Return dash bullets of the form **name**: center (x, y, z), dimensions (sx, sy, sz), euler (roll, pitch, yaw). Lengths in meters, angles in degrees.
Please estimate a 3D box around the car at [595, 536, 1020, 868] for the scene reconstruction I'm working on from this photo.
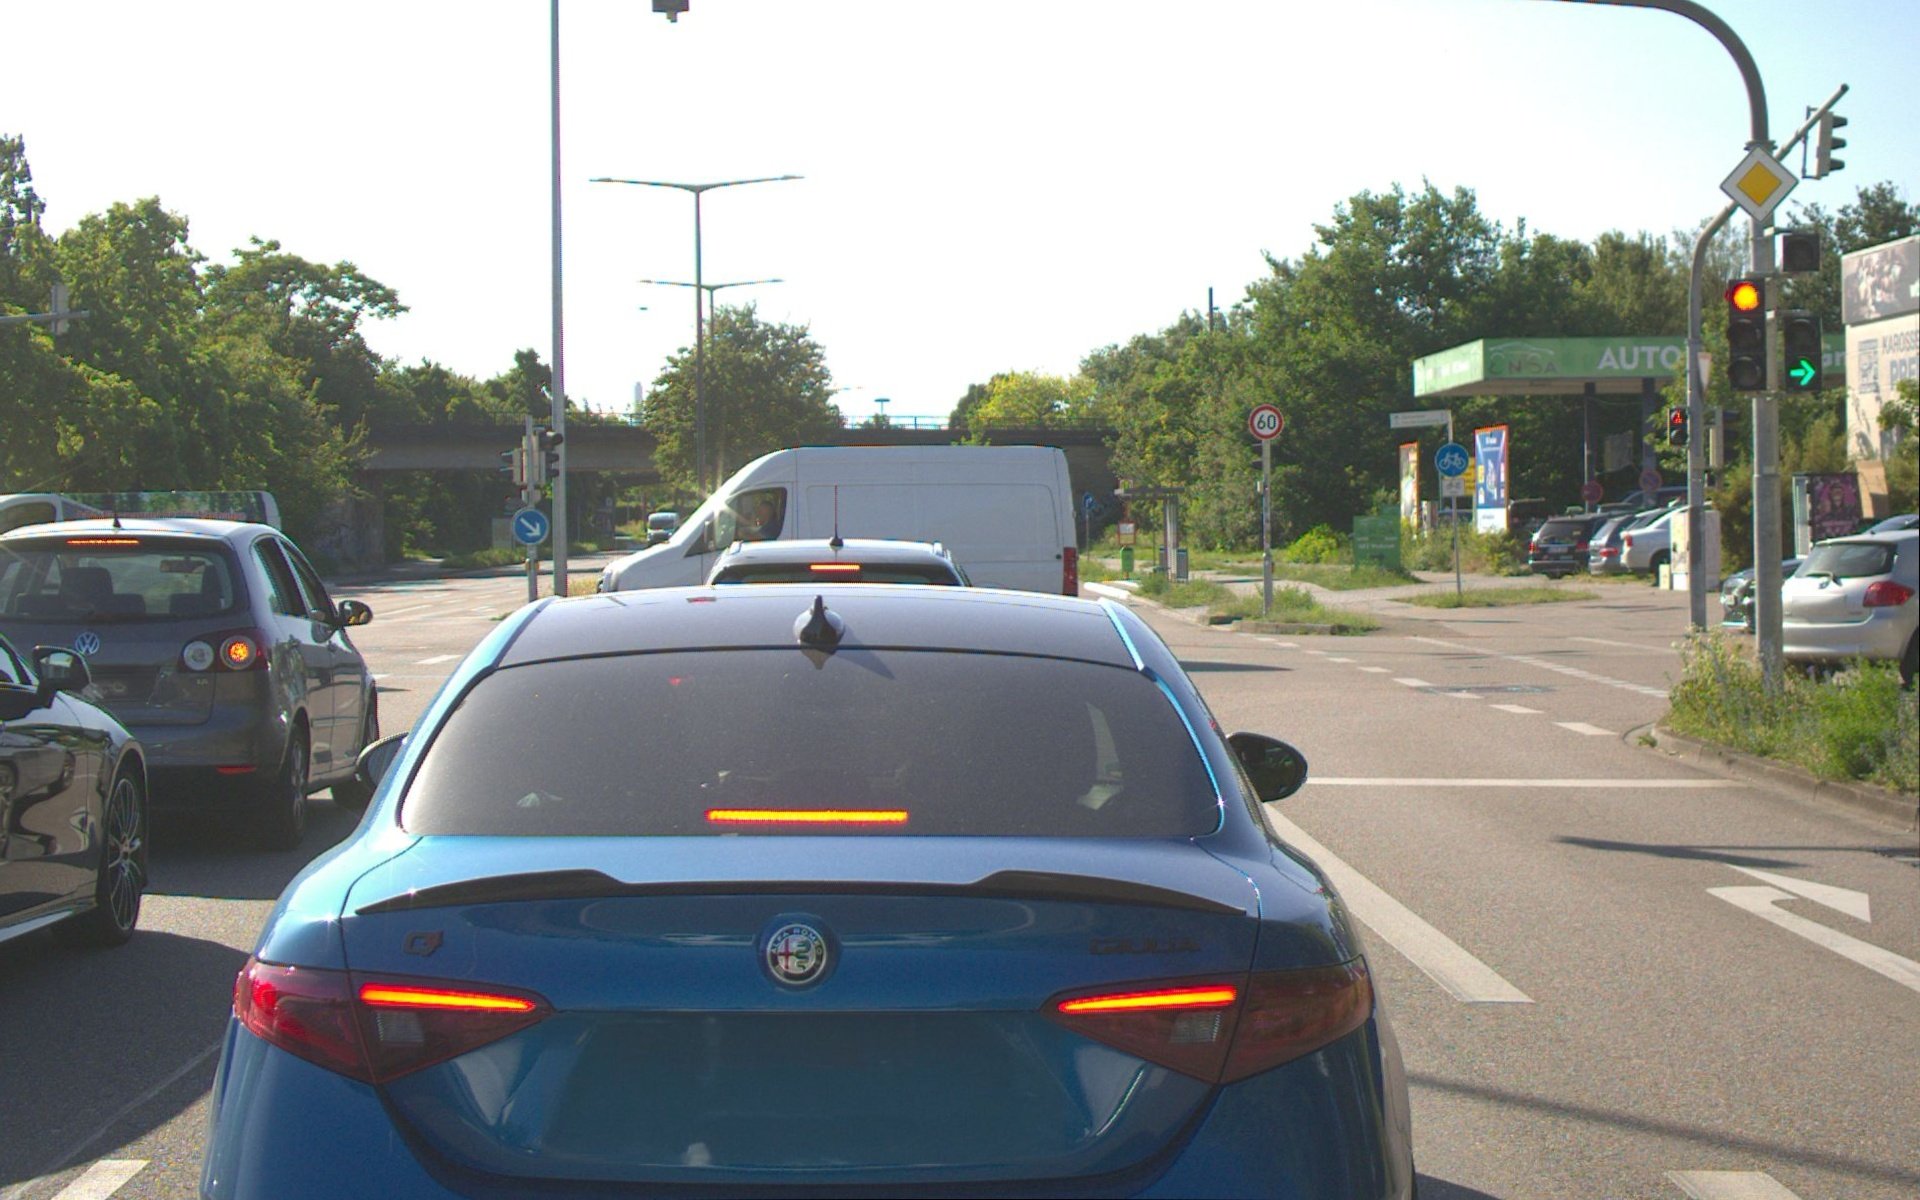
- **car**: center (-0.693, 0.414, 17.086), dimensions (1.866, 1.445, 3.932), euler (0, 1, -1)

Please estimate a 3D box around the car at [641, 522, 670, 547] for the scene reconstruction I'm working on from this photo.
- **car**: center (-21.004, -4.542, 237.137), dimensions (1.822, 1.688, 3.837), euler (0, 1, -3)

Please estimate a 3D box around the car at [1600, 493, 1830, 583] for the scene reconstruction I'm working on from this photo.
- **car**: center (14.511, -1.193, 66.116), dimensions (3.986, 1.700, 1.696), euler (-1, 1, -16)

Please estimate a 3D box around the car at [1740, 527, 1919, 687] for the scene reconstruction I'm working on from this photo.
- **car**: center (9.636, 0.033, 33.343), dimensions (3.978, 1.472, 1.741), euler (-1, 1, -32)

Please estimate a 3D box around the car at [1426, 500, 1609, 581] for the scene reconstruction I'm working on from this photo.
- **car**: center (12.019, -1.284, 74.162), dimensions (3.483, 1.700, 1.696), euler (-1, 1, -16)

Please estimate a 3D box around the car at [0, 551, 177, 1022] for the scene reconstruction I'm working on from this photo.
- **car**: center (-3.799, 0.573, 10.648), dimensions (1.768, 1.409, 4.461), euler (0, 1, -1)

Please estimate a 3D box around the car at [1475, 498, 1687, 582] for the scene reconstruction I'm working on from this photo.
- **car**: center (12.820, -1.246, 70.972), dimensions (3.986, 1.700, 1.696), euler (-1, 1, -19)

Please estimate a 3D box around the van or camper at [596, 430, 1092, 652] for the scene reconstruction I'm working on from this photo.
- **van or camper**: center (-1.473, -0.737, 42.164), dimensions (5.935, 2.641, 2.000), euler (0, 1, -6)

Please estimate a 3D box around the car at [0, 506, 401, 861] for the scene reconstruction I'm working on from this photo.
- **car**: center (-3.964, 0.336, 17.450), dimensions (1.648, 1.593, 3.932), euler (0, 1, -1)

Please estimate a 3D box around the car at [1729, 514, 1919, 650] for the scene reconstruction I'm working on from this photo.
- **car**: center (12.074, -0.246, 42.627), dimensions (4.598, 1.647, 2.000), euler (0, 1, -1)

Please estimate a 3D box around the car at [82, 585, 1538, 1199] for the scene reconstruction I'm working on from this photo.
- **car**: center (-0.216, 0.699, 6.385), dimensions (1.866, 1.380, 3.932), euler (0, 1, -1)

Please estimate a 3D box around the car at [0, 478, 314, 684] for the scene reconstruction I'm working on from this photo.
- **car**: center (-9.271, -0.211, 34.851), dimensions (5.012, 2.007, 1.999), euler (-1, 1, -41)
